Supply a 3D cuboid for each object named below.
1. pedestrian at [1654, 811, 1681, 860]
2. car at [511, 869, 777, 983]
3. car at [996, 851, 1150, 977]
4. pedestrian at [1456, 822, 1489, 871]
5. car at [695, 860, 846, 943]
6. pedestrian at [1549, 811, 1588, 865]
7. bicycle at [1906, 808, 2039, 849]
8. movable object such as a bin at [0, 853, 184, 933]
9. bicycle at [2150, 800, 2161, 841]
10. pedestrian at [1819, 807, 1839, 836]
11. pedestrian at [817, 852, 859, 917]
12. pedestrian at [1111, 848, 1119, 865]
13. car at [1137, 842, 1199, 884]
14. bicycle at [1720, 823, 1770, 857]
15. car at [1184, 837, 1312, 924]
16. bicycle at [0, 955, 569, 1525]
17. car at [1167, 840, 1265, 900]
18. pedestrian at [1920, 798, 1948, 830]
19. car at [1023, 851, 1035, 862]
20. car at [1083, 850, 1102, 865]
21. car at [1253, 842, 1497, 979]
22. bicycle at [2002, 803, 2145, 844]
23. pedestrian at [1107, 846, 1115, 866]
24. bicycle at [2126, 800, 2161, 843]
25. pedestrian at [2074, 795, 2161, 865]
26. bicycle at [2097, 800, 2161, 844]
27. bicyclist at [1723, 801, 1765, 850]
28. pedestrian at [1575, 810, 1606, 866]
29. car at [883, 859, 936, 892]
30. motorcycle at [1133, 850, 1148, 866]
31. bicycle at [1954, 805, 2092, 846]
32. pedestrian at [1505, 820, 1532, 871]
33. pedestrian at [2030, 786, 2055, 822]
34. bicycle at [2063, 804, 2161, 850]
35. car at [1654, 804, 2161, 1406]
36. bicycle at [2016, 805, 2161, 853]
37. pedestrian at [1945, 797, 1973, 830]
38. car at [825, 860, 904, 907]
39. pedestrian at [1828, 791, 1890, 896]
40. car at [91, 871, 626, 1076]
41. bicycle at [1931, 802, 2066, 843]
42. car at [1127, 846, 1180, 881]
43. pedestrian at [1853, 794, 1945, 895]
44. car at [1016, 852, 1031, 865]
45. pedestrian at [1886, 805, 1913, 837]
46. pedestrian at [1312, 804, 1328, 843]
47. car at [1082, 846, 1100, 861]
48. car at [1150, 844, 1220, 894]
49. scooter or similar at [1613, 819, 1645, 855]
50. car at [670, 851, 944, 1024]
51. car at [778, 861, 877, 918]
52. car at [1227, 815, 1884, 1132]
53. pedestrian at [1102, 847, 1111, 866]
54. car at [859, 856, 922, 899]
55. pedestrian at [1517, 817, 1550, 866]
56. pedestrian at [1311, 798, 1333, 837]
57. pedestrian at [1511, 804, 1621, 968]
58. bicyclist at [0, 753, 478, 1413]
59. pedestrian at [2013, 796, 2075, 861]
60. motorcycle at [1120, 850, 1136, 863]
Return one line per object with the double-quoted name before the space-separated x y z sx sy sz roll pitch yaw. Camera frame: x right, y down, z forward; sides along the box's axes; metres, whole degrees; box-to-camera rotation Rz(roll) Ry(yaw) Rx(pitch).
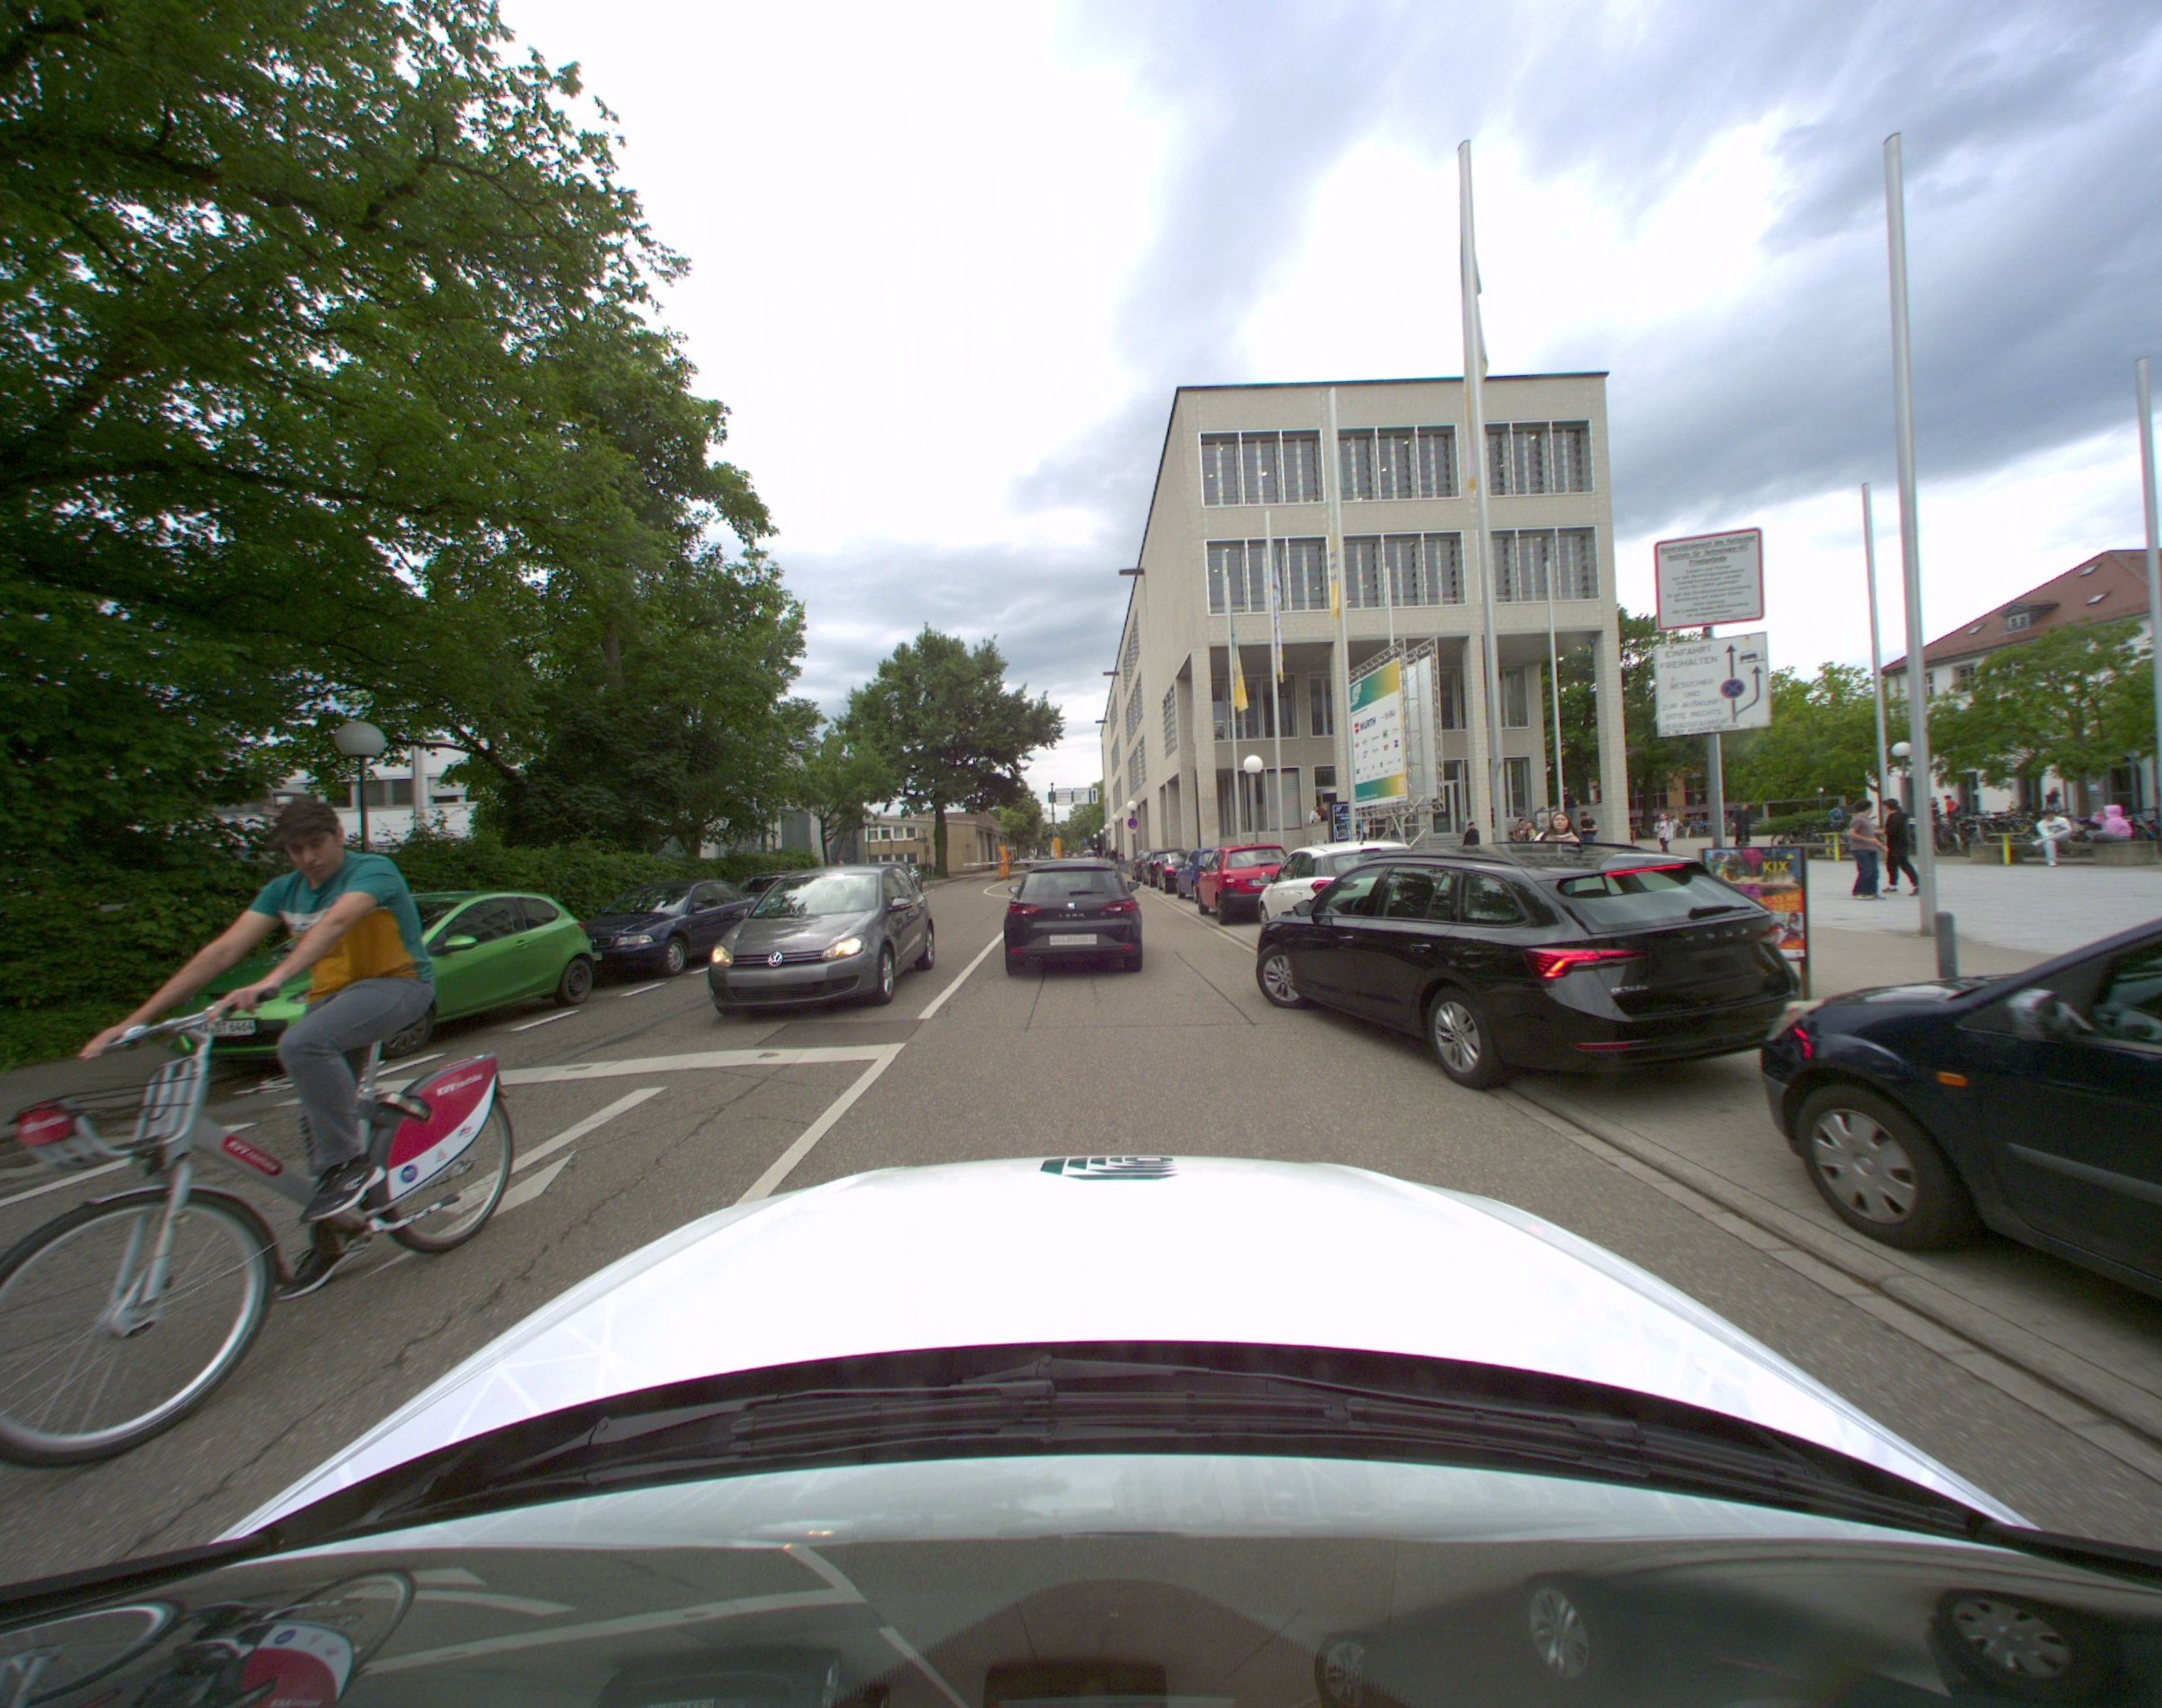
"pedestrian" 20.145 -0.636 27.995 0.727 1.640 0.938 0 3 34
"car" -6.871 1.033 13.453 1.790 1.408 4.340 -3 0 3
"car" -0.130 0.705 11.715 1.777 1.419 4.127 -2 0 -1
"pedestrian" 13.949 -0.256 29.043 0.753 1.669 0.705 -3 -1 0
"car" -7.183 1.010 19.391 1.792 1.561 4.529 -3 1 -1
"pedestrian" 16.544 -0.532 27.667 0.763 1.785 0.733 -3 -1 -14
"bicycle" 27.342 -0.805 25.092 0.743 1.169 3.109 -2 2 1
"movable object such as a bin" -31.115 1.200 24.949 4.646 2.171 1.997 -4 0 -4
"bicycle" 30.726 -0.893 21.591 0.742 1.169 3.110 -2 2 2
"pedestrian" 43.505 -1.882 47.371 0.654 1.641 0.670 -3 0 24
"pedestrian" -6.598 0.819 22.165 0.736 1.661 0.968 -4 1 1
"pedestrian" 3.526 0.284 83.583 0.727 1.698 0.587 -2 2 -6
"car" 3.439 0.347 32.996 1.813 1.443 4.517 -4 0 -2
"bicycle" 22.980 -0.498 28.218 0.865 1.093 1.811 -2 1 24
"car" 3.376 0.476 17.263 1.707 1.473 4.272 -5 0 -1
"bicycle" -2.697 0.993 2.752 0.654 1.037 1.858 -3 0 2
"car" 3.673 0.417 22.932 1.692 1.411 4.370 -4 0 -4
"pedestrian" 44.759 -2.096 42.743 0.659 1.641 0.693 -3 0 -3
"car" -8.157 0.434 127.937 1.765 1.601 3.998 -2 0 -1
"car" 1.279 0.431 93.341 1.988 1.622 4.425 -4 -1 -1
"car" 3.724 0.636 11.099 1.855 1.453 3.857 -3 0 -1
"bicycle" 30.757 -0.949 25.350 0.743 1.169 3.109 -2 2 1
"pedestrian" 2.636 0.181 71.186 0.608 1.714 0.575 -4 0 4
"bicycle" 29.962 -0.868 21.533 0.743 1.169 3.109 -2 2 1
"pedestrian" 22.449 -0.504 17.573 0.850 1.420 0.965 -3 0 -12
"bicycle" 29.185 -0.846 21.560 0.743 1.169 3.109 -2 2 1
"bicyclist" 22.950 -0.984 28.212 0.865 1.641 0.873 -2 0 24
"pedestrian" 17.397 -0.562 27.816 0.783 1.865 0.596 -3 -1 -42
"car" -8.272 1.016 39.603 1.814 1.389 4.189 -2 0 -3
"motorcycle" 4.964 0.331 67.961 0.560 1.148 2.230 -1 2 24
"bicycle" 28.906 -0.885 25.105 0.743 1.169 3.109 -2 2 1
"pedestrian" 16.269 -0.321 30.277 0.589 1.841 0.620 -2 -1 0
"pedestrian" 44.575 -2.312 37.745 0.669 1.641 0.655 -2 -1 -37
"bicycle" 28.274 -0.723 21.620 0.743 1.169 3.109 -2 2 1
"car" 3.539 0.609 1.767 1.617 1.501 4.105 -5 0 0
"bicycle" 26.822 -0.677 21.553 0.618 1.169 3.109 -2 2 1
"pedestrian" 44.866 -2.052 41.612 0.659 1.641 0.665 -3 0 -3
"car" -7.576 0.998 28.880 1.759 1.411 4.005 -3 1 -2
"pedestrian" 13.743 -0.189 14.405 0.635 1.807 0.652 -1 2 27
"car" -7.034 1.014 8.712 1.791 1.469 4.249 -3 0 1
"bicycle" 28.122 -0.973 25.080 0.742 1.169 3.109 -2 2 1
"car" 3.382 0.423 38.830 1.987 1.452 4.921 -3 0 0
"pedestrian" 14.710 -0.173 14.668 0.694 1.712 0.904 -5 2 -17
"car" -7.403 0.542 105.165 1.765 1.601 3.997 -2 0 -2
"pedestrian" 43.467 -1.737 43.241 0.659 1.641 0.665 -3 -1 -4
"pedestrian" 10.602 -1.356 36.123 0.624 1.658 0.810 -1 2 15
"car" 1.211 -0.082 97.870 1.987 1.622 4.427 -4 0 -1
"car" 3.499 0.458 28.107 1.842 1.442 4.419 -3 2 1
"scooter or similar" 21.497 -0.673 31.923 1.496 1.369 0.402 -3 2 -29
"car" -2.876 0.773 9.595 1.778 1.497 4.166 -3 0 -1
"car" -7.539 1.007 24.637 1.756 1.471 3.823 -3 0 -1
"car" 2.904 0.587 6.353 1.862 1.401 4.461 -5 1 -12
"pedestrian" 2.329 0.233 74.618 0.694 1.714 0.489 -2 0 0
"car" -7.862 0.925 33.895 1.711 1.586 3.876 -2 1 -1
"pedestrian" 16.263 -0.440 29.302 0.774 1.715 0.603 -3 -1 0
"pedestrian" 10.403 -1.560 35.205 0.797 1.658 0.635 -1 2 24
"pedestrian" 5.601 0.364 9.459 0.786 1.787 0.824 -3 -1 11
"bicyclist" -2.744 0.622 2.760 0.657 1.779 0.981 -3 0 -8
"pedestrian" 21.856 -0.575 18.490 0.676 1.413 0.762 -2 -1 -32
"motorcycle" 4.894 0.272 84.546 0.752 1.148 2.678 -1 2 24
